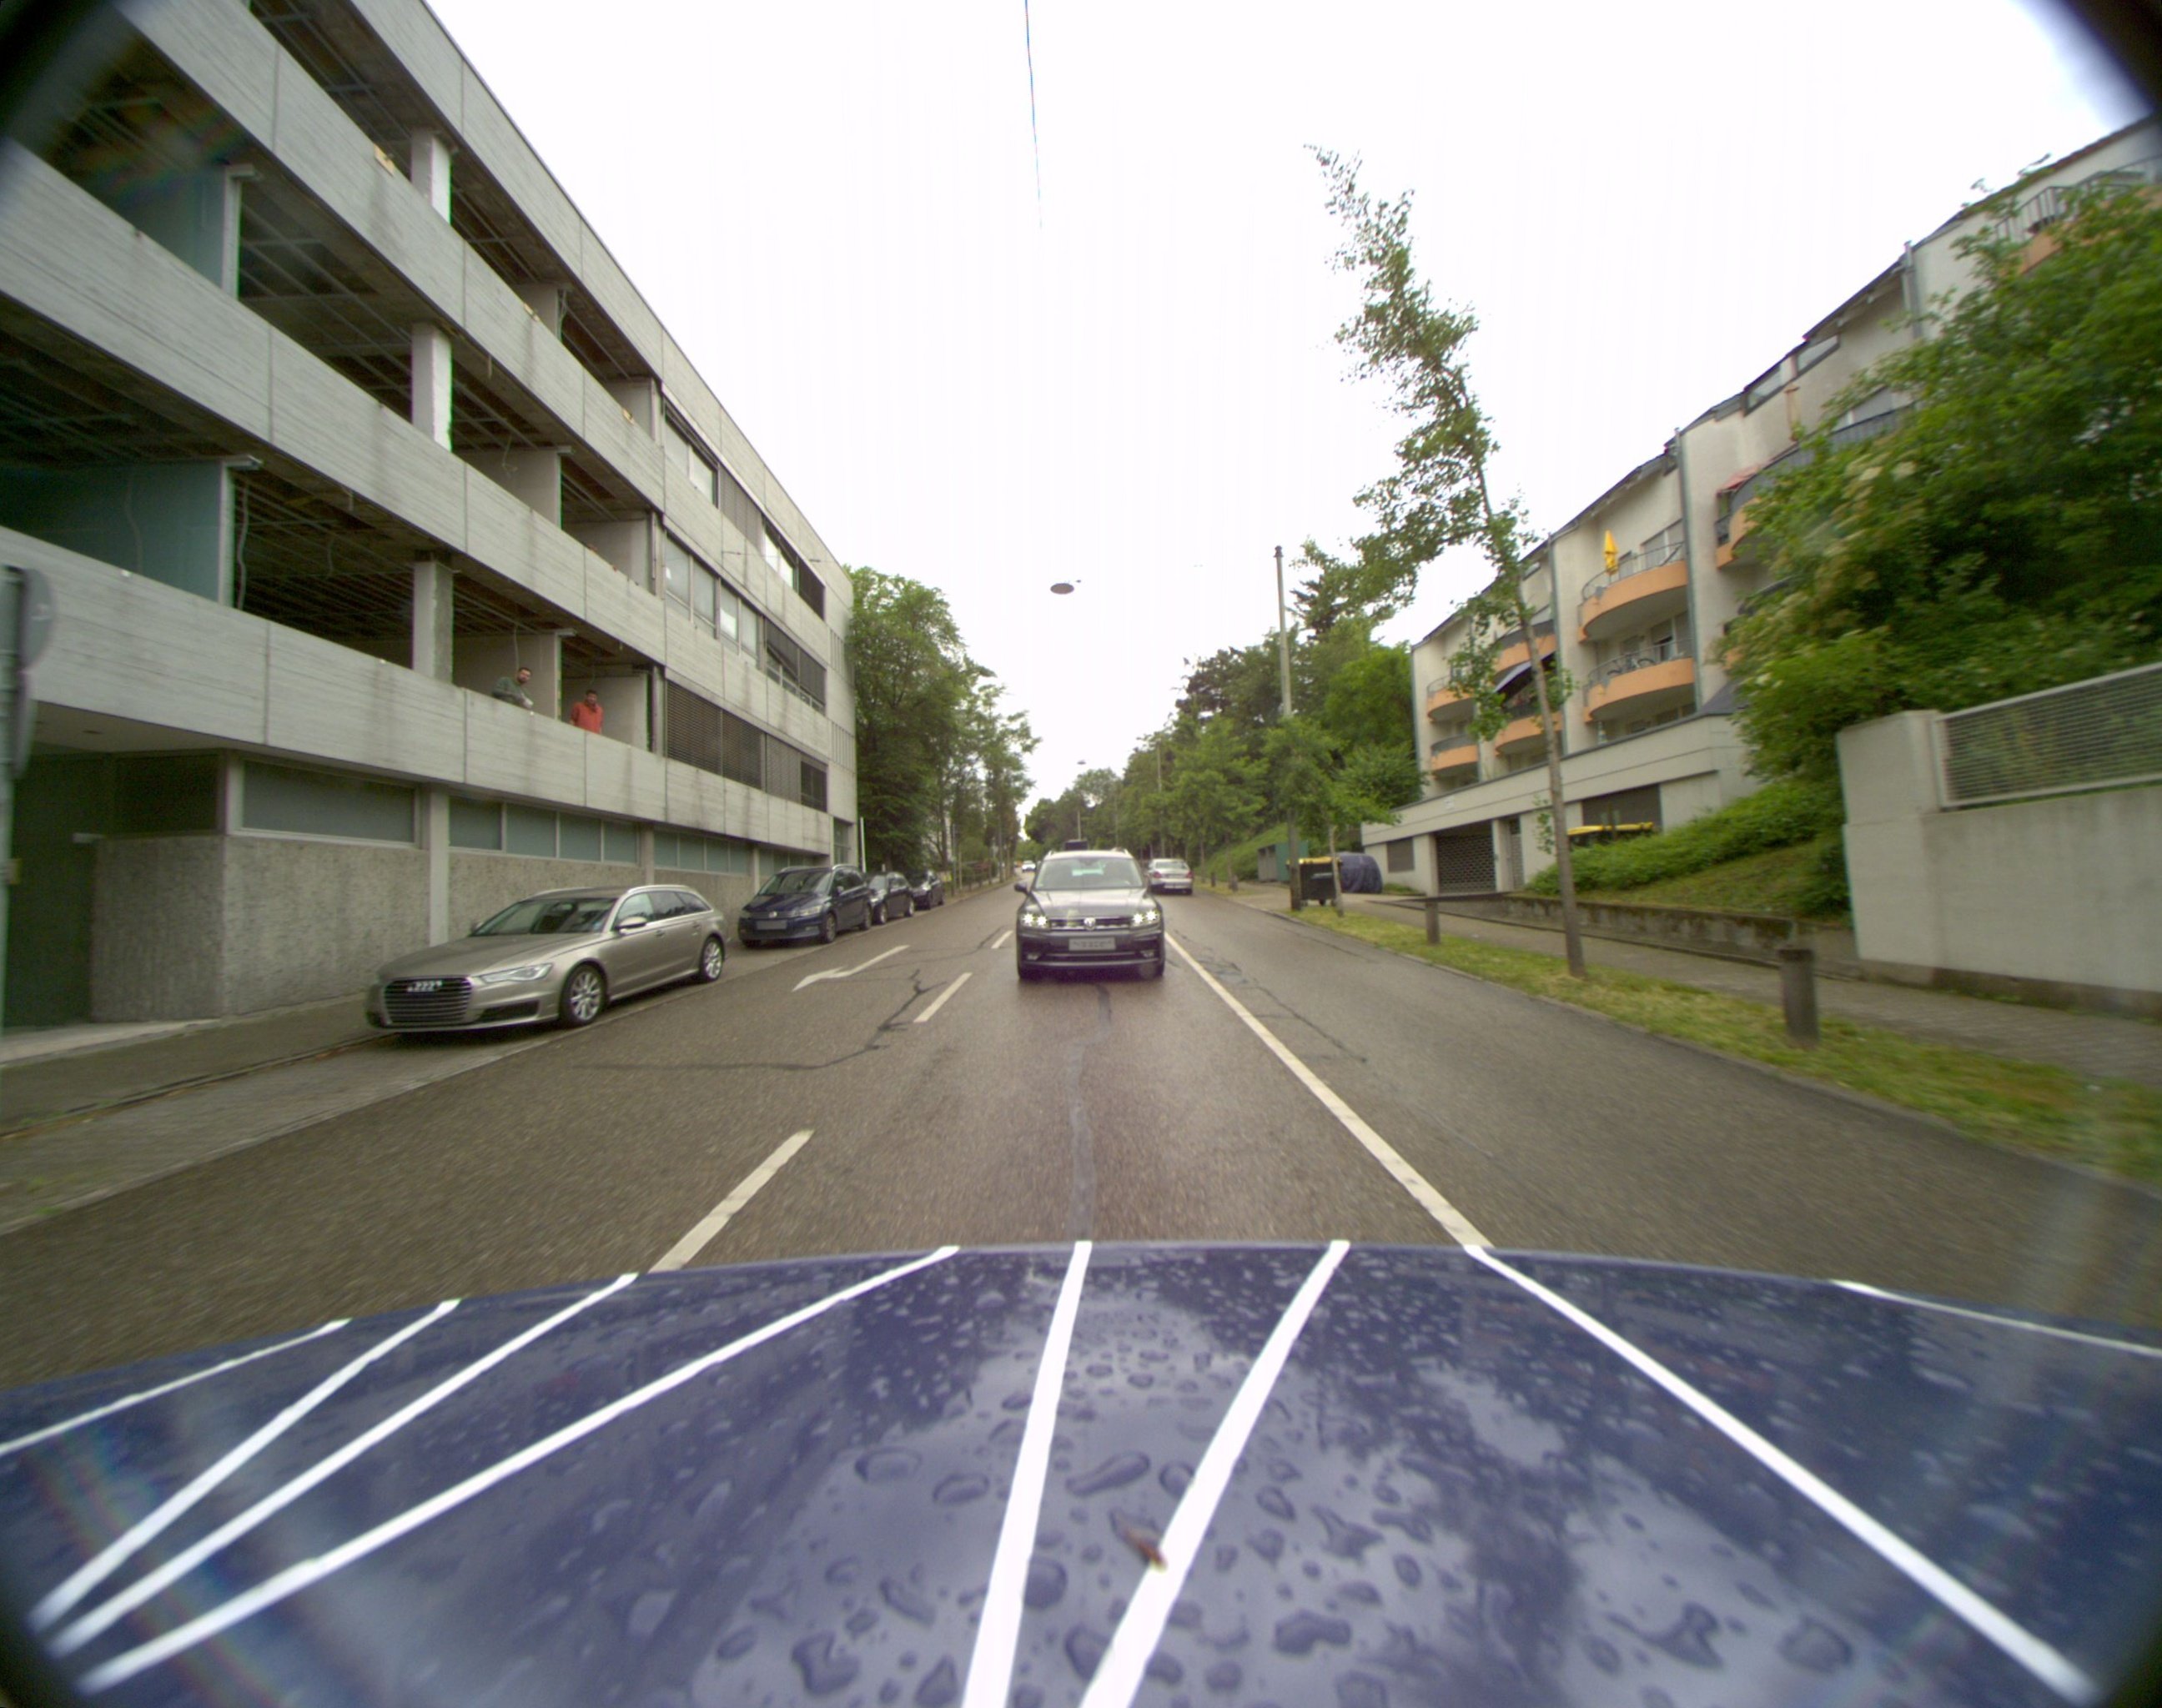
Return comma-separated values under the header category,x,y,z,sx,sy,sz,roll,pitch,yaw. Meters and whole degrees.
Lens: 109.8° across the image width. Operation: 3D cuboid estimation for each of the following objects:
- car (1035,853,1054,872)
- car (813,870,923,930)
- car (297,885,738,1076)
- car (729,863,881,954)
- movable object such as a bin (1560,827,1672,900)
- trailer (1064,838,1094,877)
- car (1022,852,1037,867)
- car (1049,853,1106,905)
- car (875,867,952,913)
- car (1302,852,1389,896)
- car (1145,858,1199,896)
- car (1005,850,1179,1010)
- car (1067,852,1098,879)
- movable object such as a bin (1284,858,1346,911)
category,x,y,z,sx,sy,sz,roll,pitch,yaw
car,-4.159,0.931,86.557,1.999,2.002,3.998,-2,1,-3
car,-5.981,1.242,21.857,1.710,1.436,4.098,-2,0,4
car,-6.116,1.227,9.182,1.819,1.451,4.741,-2,0,-1
car,-5.974,1.093,17.059,1.749,1.665,4.344,-2,0,0
movable object such as a bin,10.408,0.206,14.840,1.266,1.307,1.162,-2,-3,-7
trailer,-0.155,0.191,53.616,1.771,2.610,3.031,-2,1,-5
car,-7.624,0.801,111.313,1.999,2.002,3.997,-2,1,-6
car,-0.086,0.809,26.609,1.786,1.631,4.200,-2,0,1
car,-5.932,1.241,27.421,1.843,1.436,4.155,-1,0,0
car,9.946,0.721,28.927,1.856,1.483,3.865,3,0,-1
car,3.611,0.886,30.839,1.723,1.376,4.285,1,0,1
car,0.154,0.805,10.148,1.786,1.631,4.200,-2,0,1
car,0.066,0.728,50.371,1.737,1.610,3.474,-3,1,-3
movable object such as a bin,6.305,0.816,20.546,1.227,1.342,1.122,-2,0,-7
